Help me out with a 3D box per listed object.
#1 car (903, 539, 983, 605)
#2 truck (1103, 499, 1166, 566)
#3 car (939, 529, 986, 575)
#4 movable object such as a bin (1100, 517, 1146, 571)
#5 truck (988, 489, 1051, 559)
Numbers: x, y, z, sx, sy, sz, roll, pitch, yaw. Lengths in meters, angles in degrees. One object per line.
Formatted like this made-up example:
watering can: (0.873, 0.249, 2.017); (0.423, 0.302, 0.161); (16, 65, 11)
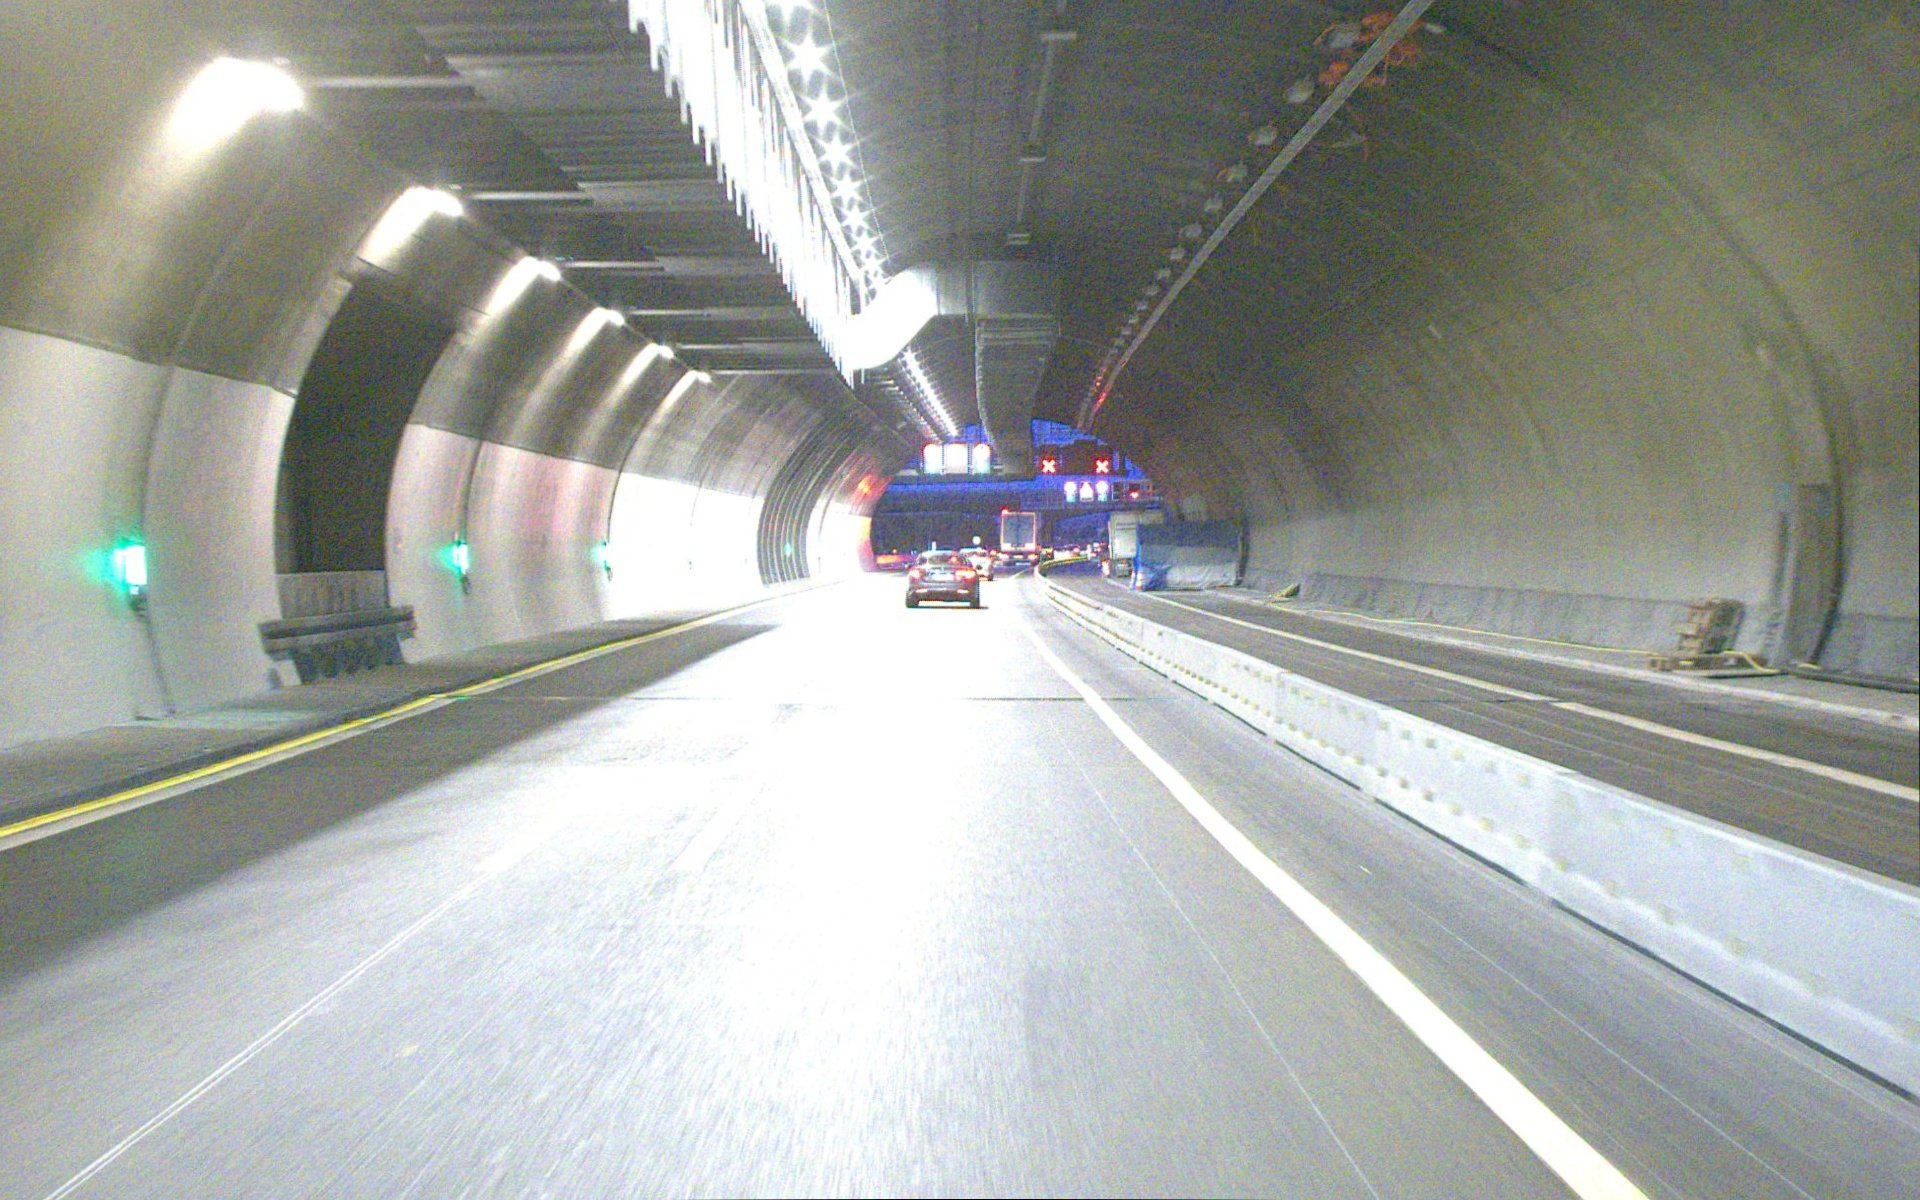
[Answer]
car: (-0.453, -0.721, 87.338); (1.887, 1.601, 4.000); (1, 1, -2)
truck: (8.737, -3.373, 173.052); (2.892, 3.261, 8.401); (1, 1, 1)
car: (0.078, -2.147, 152.358); (1.993, 2.007, 4.000); (0, 1, -1)
movable object such as a bin: (8.572, -2.932, 181.390); (2.238, 2.784, 7.233); (1, 1, 1)
truck: (4.381, -5.571, 253.515); (4.546, 4.970, 9.599); (1, 1, 1)
